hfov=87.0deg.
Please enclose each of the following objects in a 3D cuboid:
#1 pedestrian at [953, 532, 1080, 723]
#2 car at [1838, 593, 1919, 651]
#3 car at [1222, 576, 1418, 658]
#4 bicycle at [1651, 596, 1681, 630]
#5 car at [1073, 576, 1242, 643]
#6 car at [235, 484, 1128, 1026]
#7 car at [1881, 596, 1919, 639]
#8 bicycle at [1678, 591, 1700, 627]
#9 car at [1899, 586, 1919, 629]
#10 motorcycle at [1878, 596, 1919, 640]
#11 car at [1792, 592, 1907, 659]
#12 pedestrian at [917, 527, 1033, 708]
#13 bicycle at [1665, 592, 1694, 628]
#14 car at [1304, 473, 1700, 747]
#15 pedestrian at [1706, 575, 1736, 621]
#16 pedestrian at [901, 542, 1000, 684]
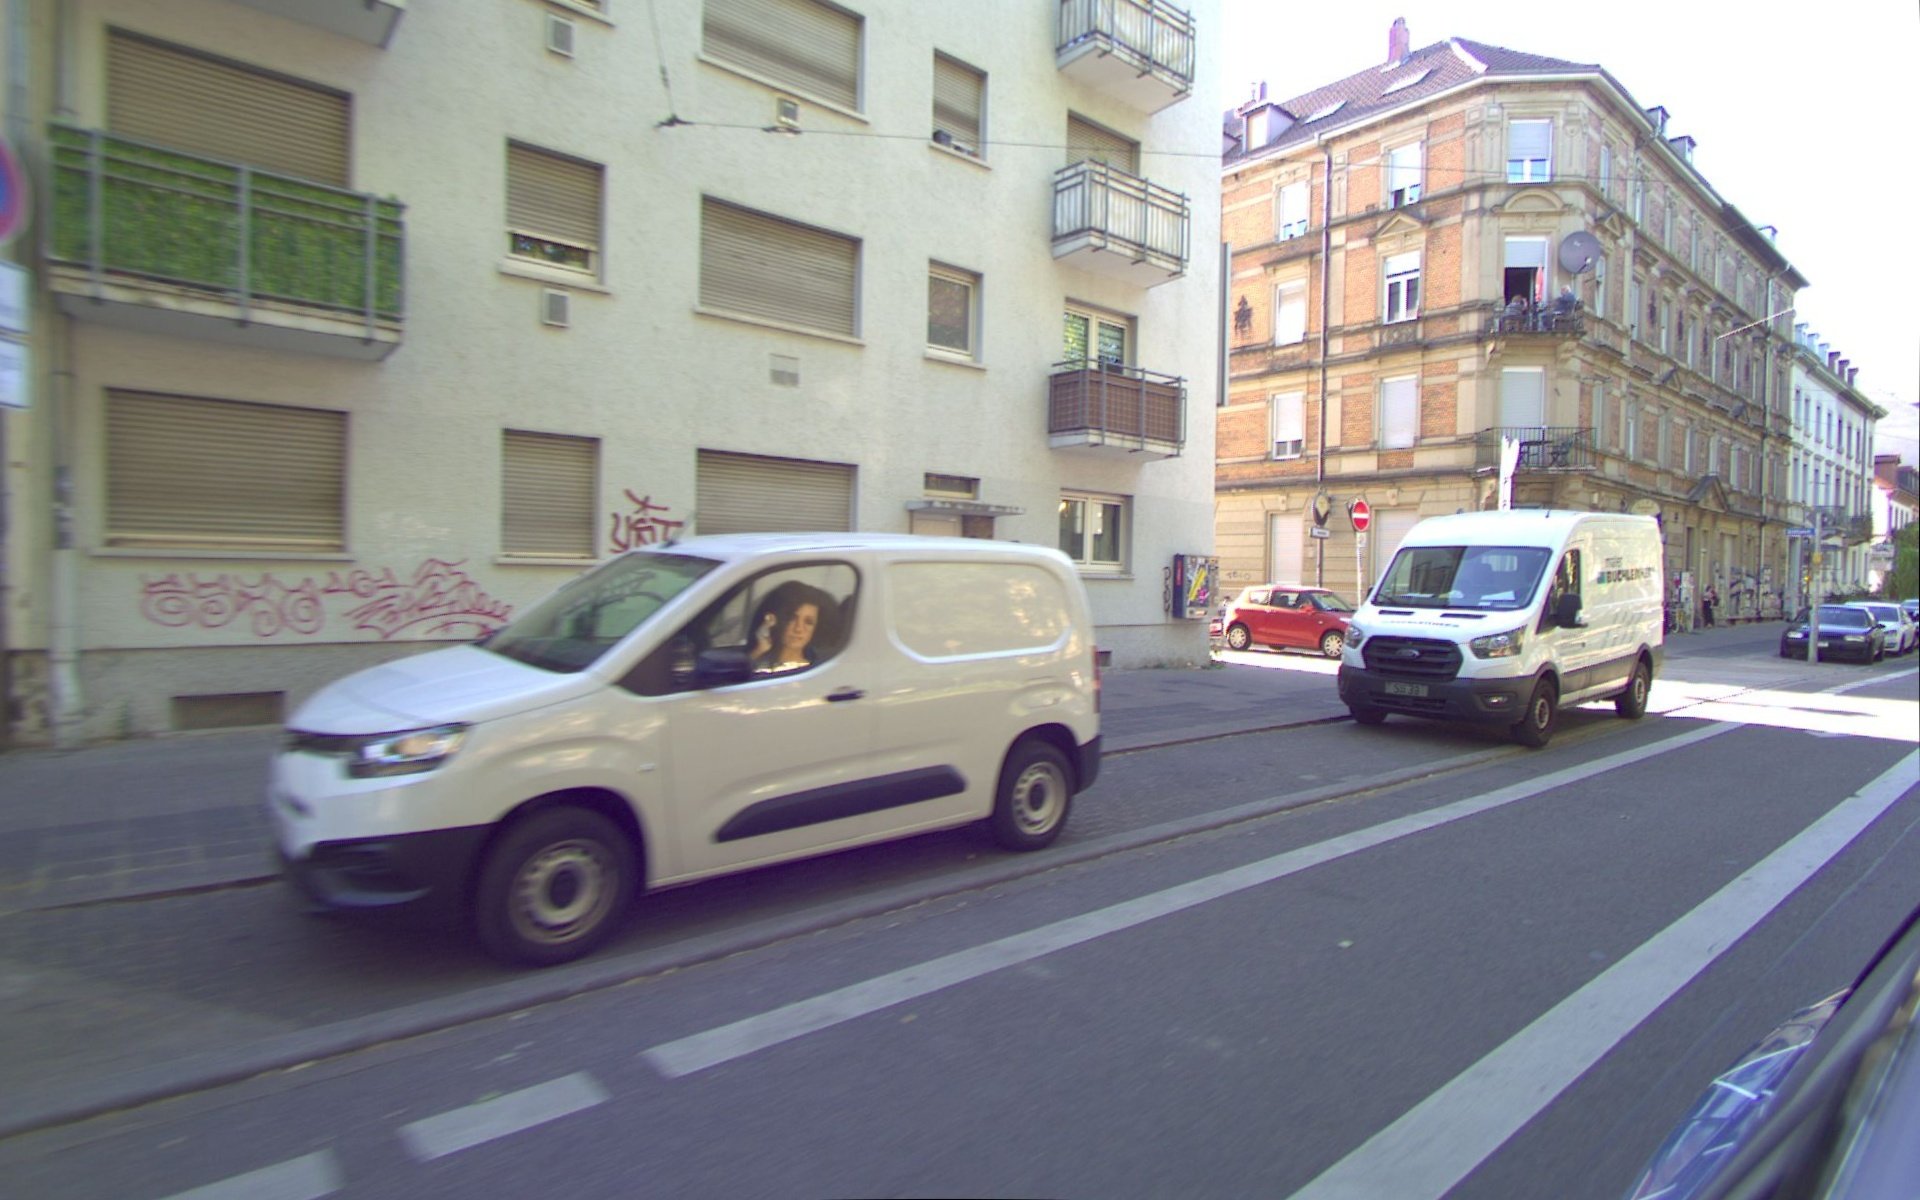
[{"bbox_3d":[0.579,0.242,10.382,1.062,1.845,0.711,-1,3,-38],"label":"pedestrian"},{"bbox_3d":[26.530,0.577,28.856,3.942,1.437,1.606,-1,4,-40],"label":"car"},{"bbox_3d":[7.823,0.316,22.215,1.758,1.593,3.658,1,1,-40],"label":"car"},{"bbox_3d":[22.168,0.396,31.765,1.347,1.013,0.379,0,1,-39],"label":"bicycle"},{"bbox_3d":[4.930,0.178,25.714,1.758,1.473,4.035,0,2,-39],"label":"car"},{"bbox_3d":[-1.228,0.406,5.507,4.275,1.841,1.863,-2,6,-41],"label":"car"},{"bbox_3d":[31.595,0.565,33.123,3.659,1.288,1.653,-1,4,-41],"label":"car"},{"bbox_3d":[24.306,0.291,33.723,1.118,1.168,0.274,0,1,-39],"label":"bicycle"},{"bbox_3d":[35.426,0.273,36.585,3.673,1.469,1.611,-1,4,-39],"label":"car"},{"bbox_3d":[29.595,0.566,30.937,2.121,1.305,0.636,1,1,29],"label":"motorcycle"},{"bbox_3d":[22.394,0.572,25.433,3.990,1.437,1.652,-1,4,-42],"label":"car"},{"bbox_3d":[0.167,0.158,10.912,1.062,1.845,0.627,-1,3,-38],"label":"pedestrian"},{"bbox_3d":[23.363,0.317,32.865,1.347,1.168,0.379,0,1,-39],"label":"bicycle"},{"bbox_3d":[6.701,0.040,12.104,5.982,2.526,2.153,-1,2,-41],"label":"car"},{"bbox_3d":[28.029,-0.095,37.286,0.753,1.677,0.716,0,1,-41],"label":"pedestrian"},{"bbox_3d":[-0.113,0.135,12.286,0.916,1.598,0.634,-1,7,-38],"label":"pedestrian"}]
